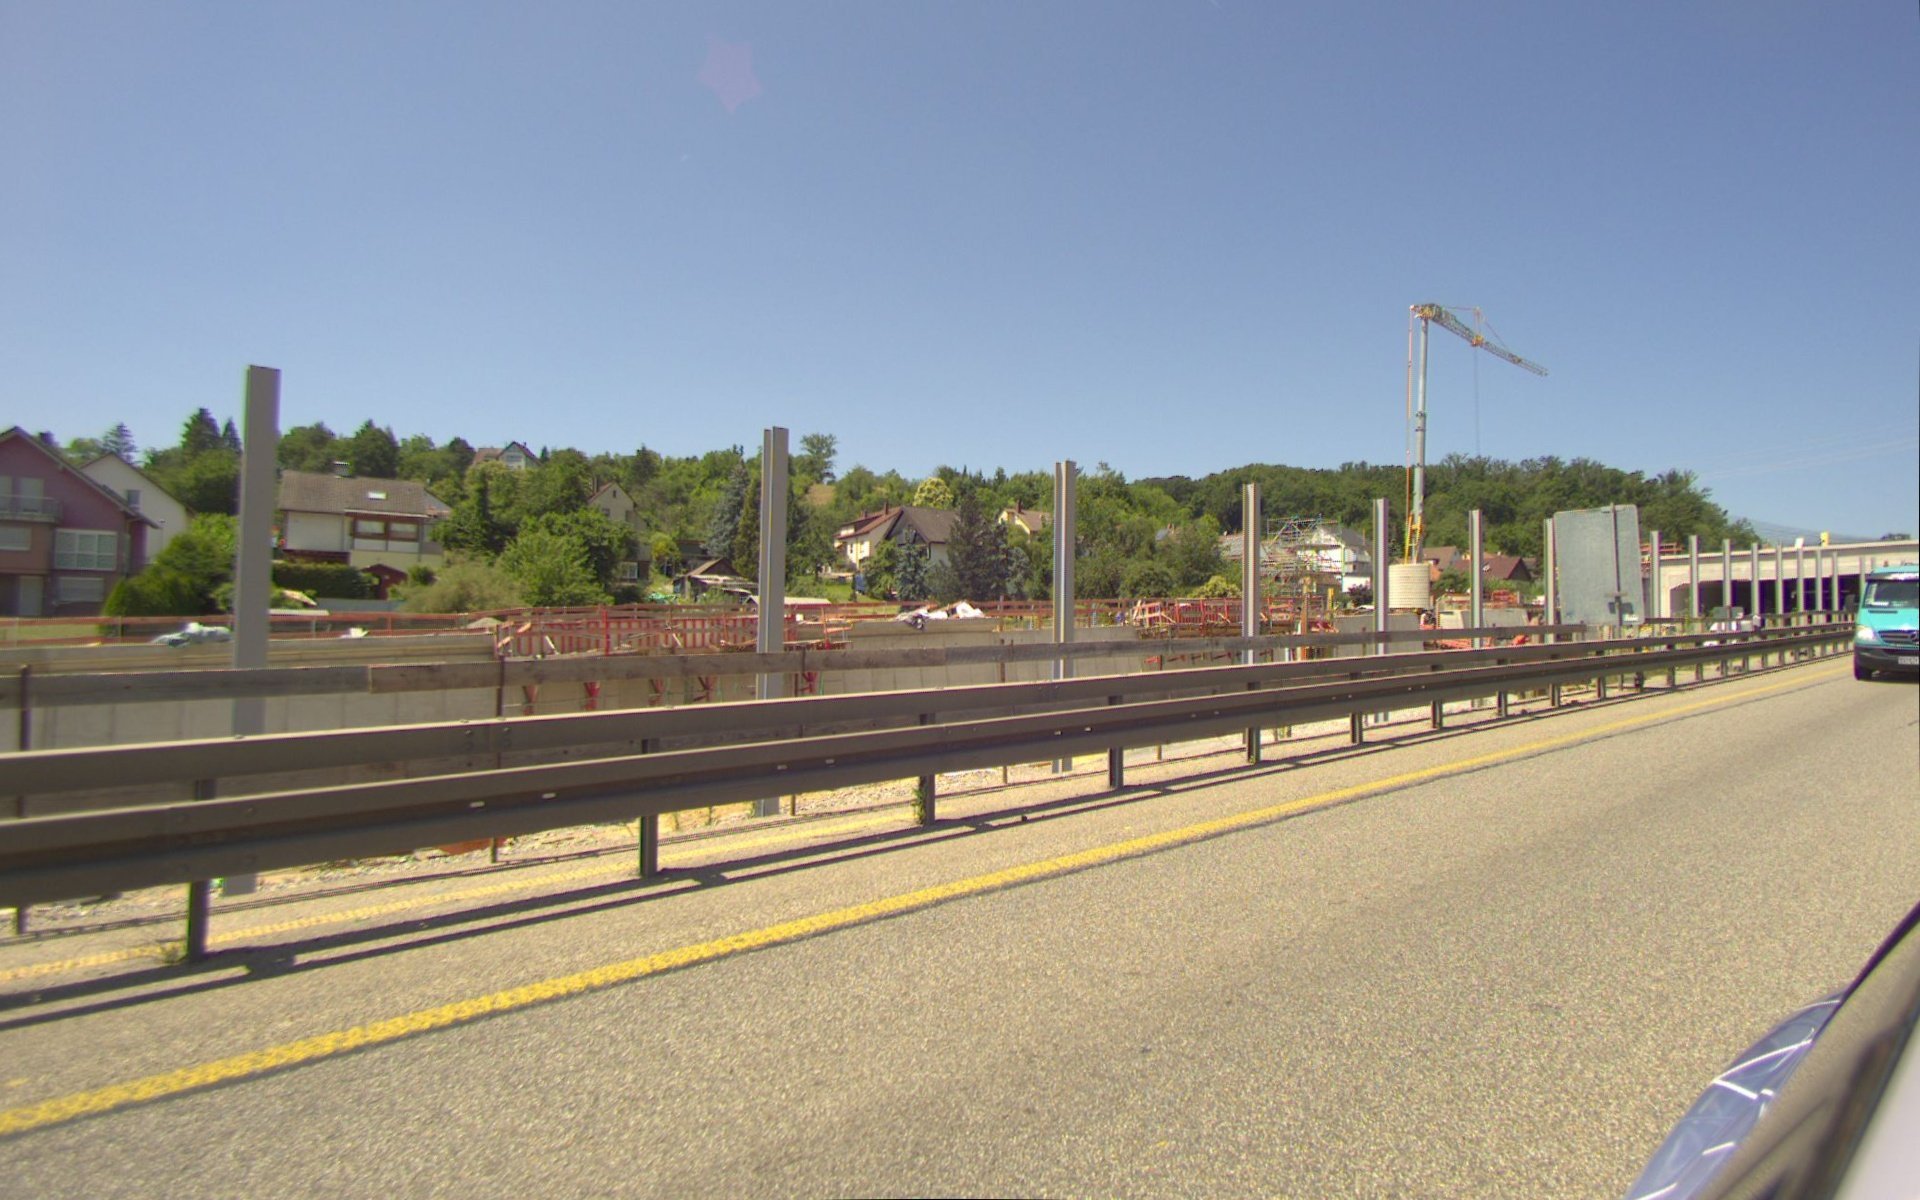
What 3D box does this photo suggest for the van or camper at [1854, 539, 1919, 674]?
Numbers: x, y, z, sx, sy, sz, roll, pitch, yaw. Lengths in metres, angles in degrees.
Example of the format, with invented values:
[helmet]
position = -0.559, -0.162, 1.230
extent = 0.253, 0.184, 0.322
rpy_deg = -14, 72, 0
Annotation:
[van or camper]
position = 20.774, 0.114, 21.203
extent = 7.537, 2.504, 2.096
rpy_deg = 0, 0, -41
